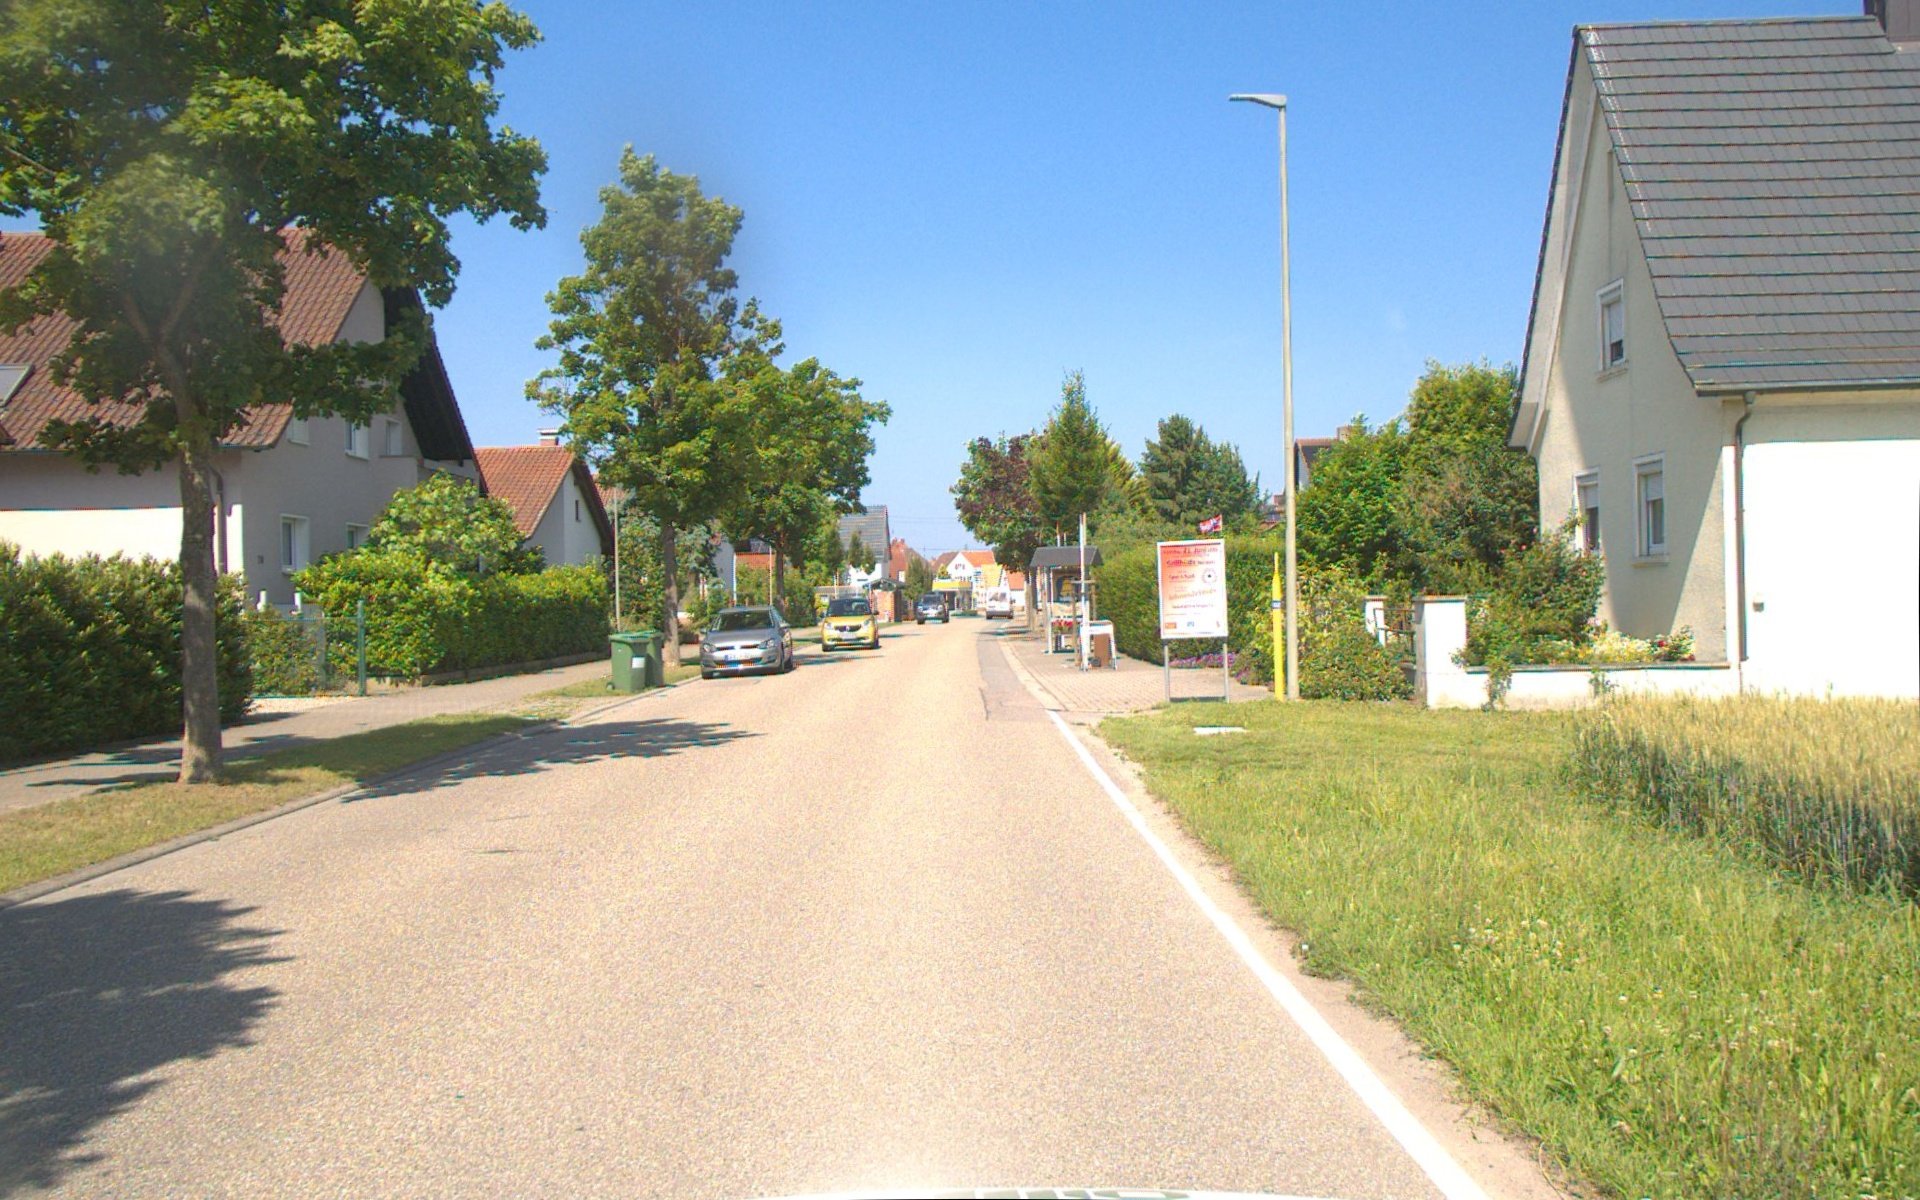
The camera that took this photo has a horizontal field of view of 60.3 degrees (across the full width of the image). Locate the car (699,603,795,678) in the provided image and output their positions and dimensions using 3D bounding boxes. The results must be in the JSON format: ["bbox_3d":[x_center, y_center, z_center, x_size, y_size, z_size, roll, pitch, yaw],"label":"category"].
[{"bbox_3d":[-4.587,0.837,36.078,1.614,1.448,4.078,-4,0,-2],"label":"car"}]

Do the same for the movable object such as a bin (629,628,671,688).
[{"bbox_3d":[-5.877,1.093,31.364,0.562,1.097,0.599,-2,0,13],"label":"movable object such as a bin"}]

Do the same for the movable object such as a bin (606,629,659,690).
[{"bbox_3d":[-6.074,1.096,30.650,0.699,1.097,0.639,-2,0,25],"label":"movable object such as a bin"}]

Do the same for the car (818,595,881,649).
[{"bbox_3d":[-3.373,0.658,51.019,1.632,1.550,3.442,-3,0,0],"label":"car"}]

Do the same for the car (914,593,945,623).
[{"bbox_3d":[-1.913,0.510,103.673,1.798,1.783,3.794,-2,0,-2],"label":"car"}]

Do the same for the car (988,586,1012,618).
[{"bbox_3d":[3.227,0.123,133.197,1.701,2.474,4.376,-2,0,4],"label":"car"}]
